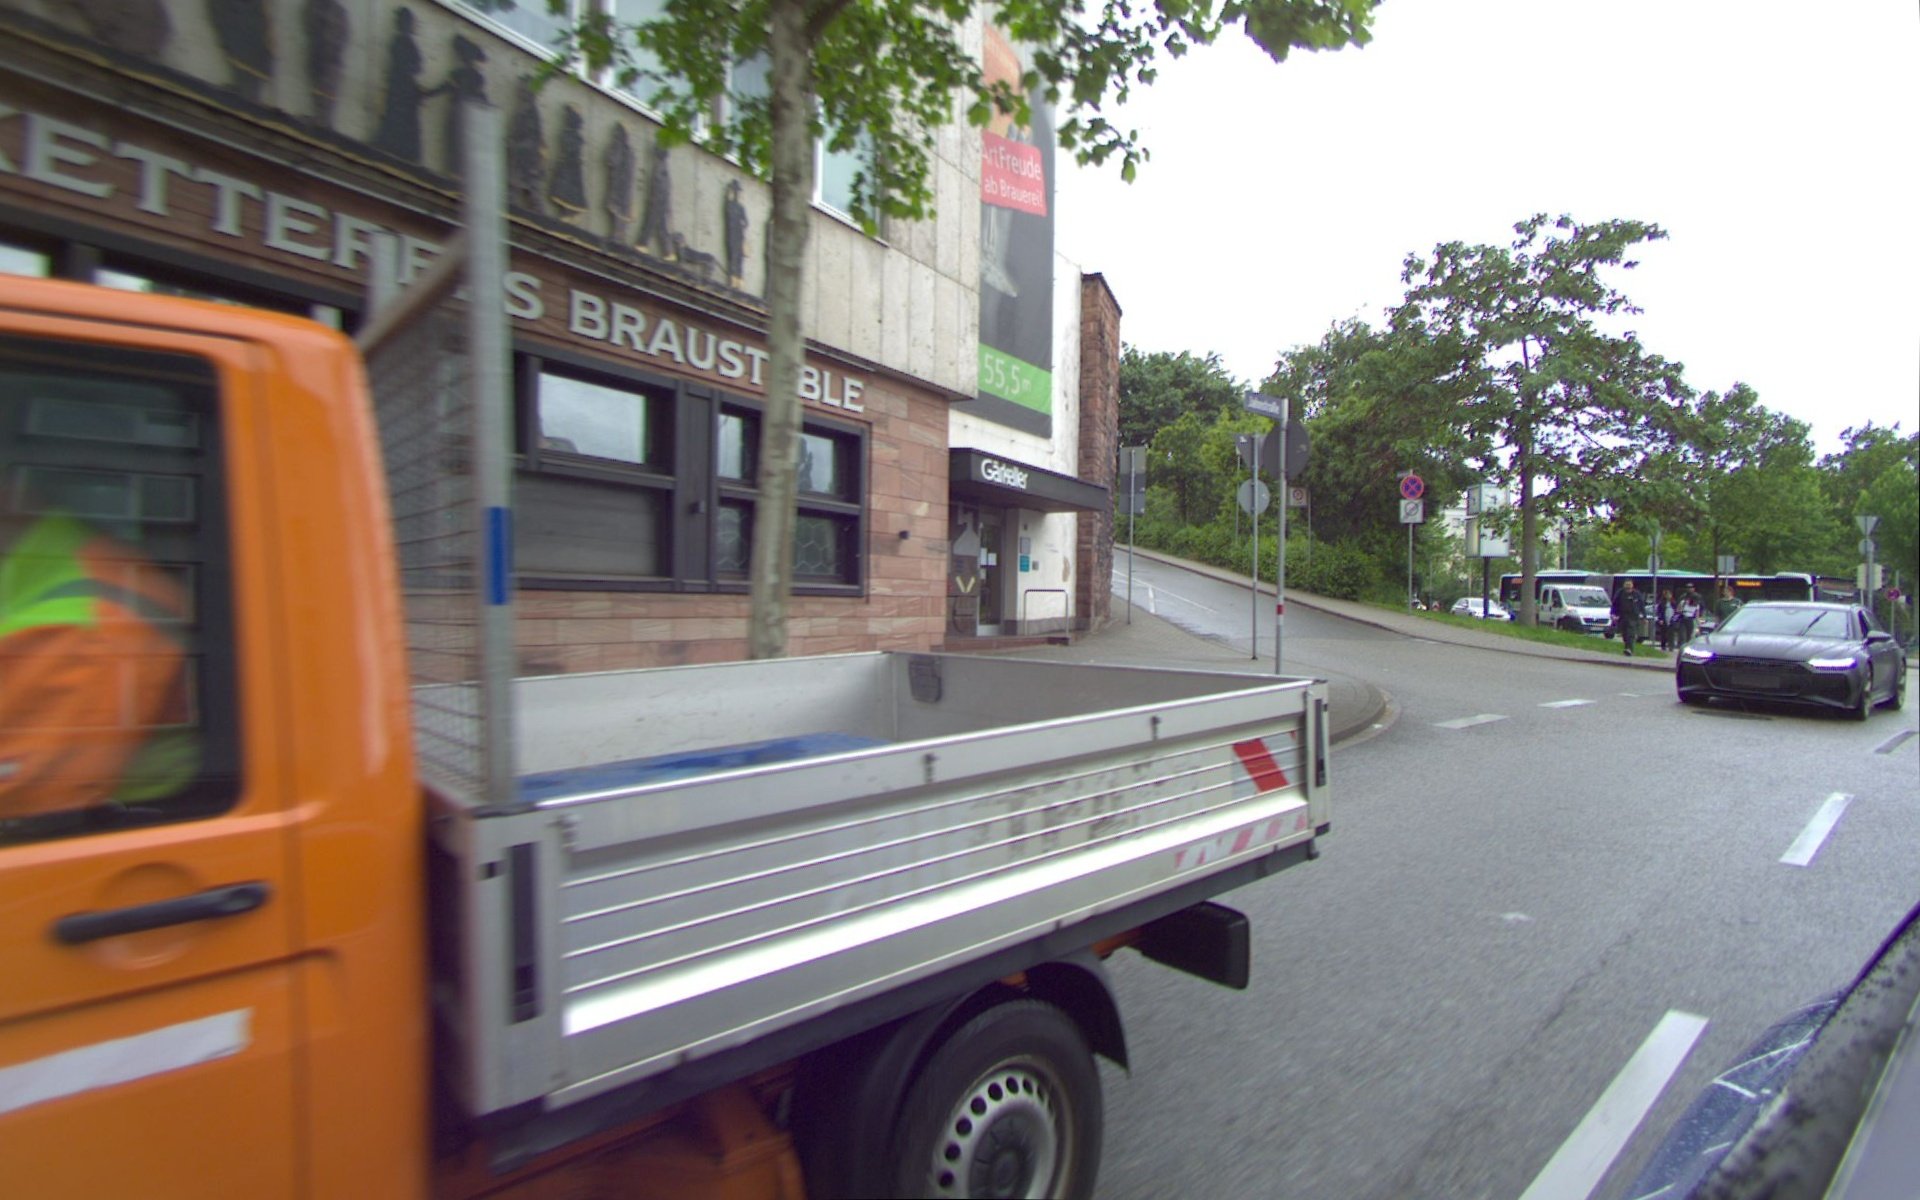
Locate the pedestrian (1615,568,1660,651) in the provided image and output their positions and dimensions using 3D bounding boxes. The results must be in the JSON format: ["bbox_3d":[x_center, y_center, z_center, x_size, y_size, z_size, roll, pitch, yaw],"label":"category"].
[{"bbox_3d":[14.549,0.195,21.734,0.571,1.706,0.949,5,4,42],"label":"pedestrian"}]

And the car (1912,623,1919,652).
[{"bbox_3d":[50.945,2.007,51.220,4.174,1.458,1.860,2,0,-9],"label":"car"}]

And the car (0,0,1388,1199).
[{"bbox_3d":[-1.665,0.297,1.671,5.444,2.115,2.106,0,2,-41],"label":"car"}]

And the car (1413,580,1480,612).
[{"bbox_3d":[27.765,-0.231,57.925,1.967,1.673,4.864,2,1,8],"label":"car"}]

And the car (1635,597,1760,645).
[{"bbox_3d":[24.822,0.650,34.256,1.767,1.391,4.085,2,1,10],"label":"car"}]

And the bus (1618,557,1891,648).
[{"bbox_3d":[32.579,-0.041,42.282,2.649,3.256,9.676,3,1,-8],"label":"bus"}]

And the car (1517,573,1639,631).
[{"bbox_3d":[26.482,0.006,43.692,2.219,2.262,6.325,2,1,10],"label":"car"}]

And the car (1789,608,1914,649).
[{"bbox_3d":[35.961,1.109,40.919,1.557,1.470,3.574,3,0,-9],"label":"car"}]

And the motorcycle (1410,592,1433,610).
[{"bbox_3d":[29.315,0.055,64.340,0.561,1.133,2.683,2,0,8],"label":"motorcycle"}]

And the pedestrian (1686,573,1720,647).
[{"bbox_3d":[20.932,0.276,28.521,0.583,2.038,0.779,4,1,29],"label":"pedestrian"}]

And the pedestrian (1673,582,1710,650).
[{"bbox_3d":[18.058,0.375,24.983,0.598,1.618,0.698,5,3,34],"label":"pedestrian"}]

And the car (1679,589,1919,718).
[{"bbox_3d":[11.699,0.636,13.916,4.283,1.422,1.896,1,2,-40],"label":"car"}]

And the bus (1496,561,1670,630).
[{"bbox_3d":[31.258,-0.233,51.335,2.633,3.220,8.573,0,0,-8],"label":"bus"}]

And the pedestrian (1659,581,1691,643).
[{"bbox_3d":[20.280,0.332,28.704,0.552,1.727,0.524,3,1,25],"label":"pedestrian"}]

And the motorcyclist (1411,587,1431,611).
[{"bbox_3d":[29.259,-0.075,64.310,0.793,1.455,1.238,2,0,8],"label":"motorcyclist"}]

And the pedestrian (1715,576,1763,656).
[{"bbox_3d":[18.812,0.369,24.444,0.738,1.852,0.686,5,3,34],"label":"pedestrian"}]
